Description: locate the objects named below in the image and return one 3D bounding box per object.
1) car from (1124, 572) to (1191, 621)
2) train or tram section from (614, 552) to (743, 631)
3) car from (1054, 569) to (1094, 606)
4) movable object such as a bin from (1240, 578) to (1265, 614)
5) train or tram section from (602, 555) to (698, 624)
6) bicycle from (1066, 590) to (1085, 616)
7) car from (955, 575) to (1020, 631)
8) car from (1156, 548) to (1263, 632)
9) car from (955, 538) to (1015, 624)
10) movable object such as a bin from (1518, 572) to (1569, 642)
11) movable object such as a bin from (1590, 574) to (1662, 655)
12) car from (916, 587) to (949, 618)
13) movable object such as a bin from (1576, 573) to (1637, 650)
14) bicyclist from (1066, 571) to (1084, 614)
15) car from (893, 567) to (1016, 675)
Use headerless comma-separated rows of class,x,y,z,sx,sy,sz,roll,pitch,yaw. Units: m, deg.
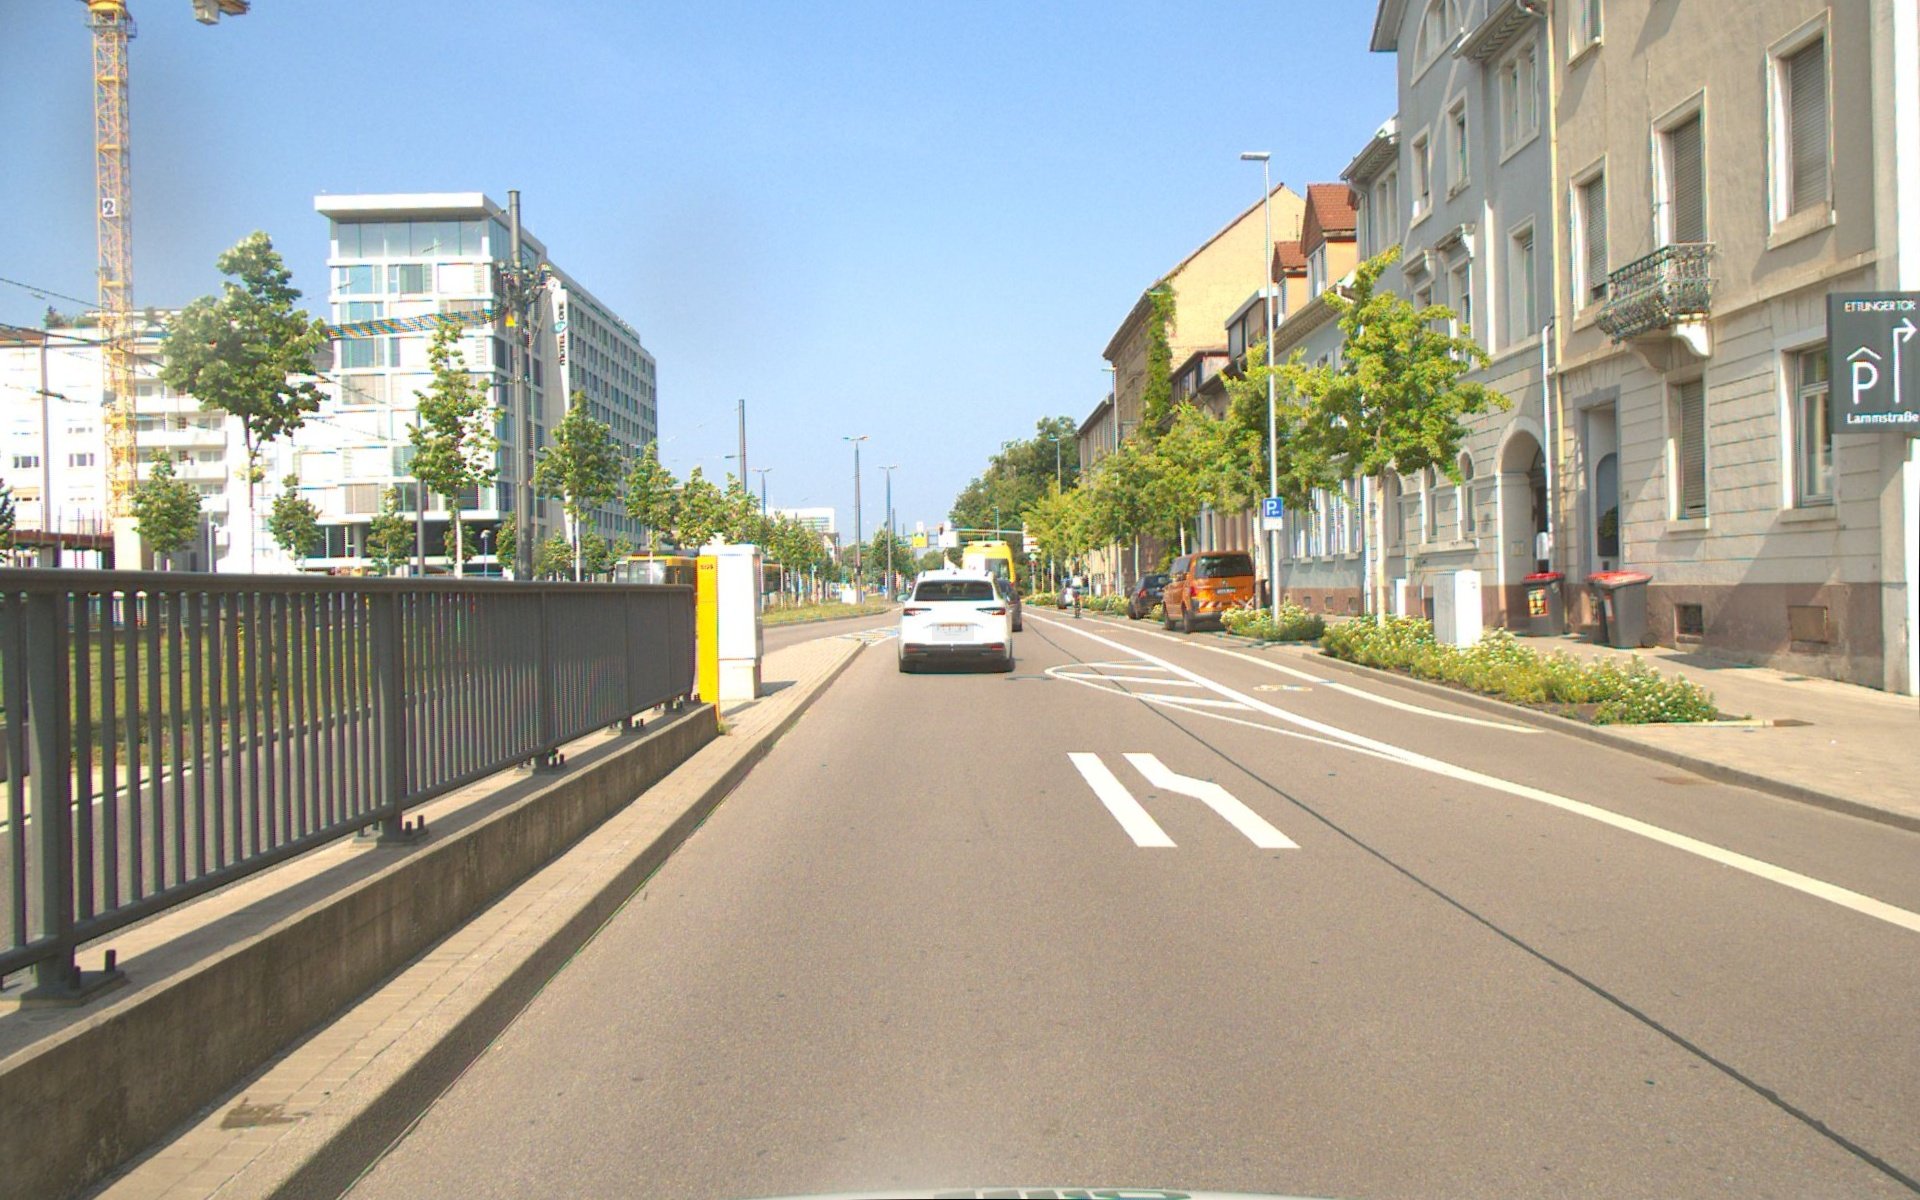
car,6.665,-0.126,56.147,1.639,1.509,4.311,-3,0,-1
train or tram section,-14.475,-0.420,87.027,2.845,3.740,18.143,0,0,3
car,5.950,-0.680,86.557,1.775,1.844,3.835,-1,1,-1
movable object such as a bin,9.891,-0.136,55.913,0.665,1.221,0.781,-1,1,-1
train or tram section,-17.582,-0.633,95.045,2.802,3.598,14.896,-1,1,-1
bicycle,4.339,0.108,62.200,0.642,0.955,1.517,-1,1,2
car,0.725,0.047,45.781,1.724,1.461,4.115,0,1,0
car,6.474,-0.301,43.355,2.021,2.048,4.588,-1,1,-1
car,0.833,-0.753,58.916,1.979,2.844,5.402,-1,2,0
movable object such as a bin,10.130,0.107,28.707,0.666,1.172,0.607,-3,3,-44
movable object such as a bin,10.170,0.210,25.286,0.765,1.192,0.808,-1,2,-1
car,-1.720,0.123,104.161,1.891,1.853,4.000,-1,1,1
movable object such as a bin,10.259,0.175,26.258,0.690,1.172,0.671,-1,2,-1
bicyclist,4.337,-0.286,62.326,0.626,1.604,0.771,-1,0,2
car,-0.085,0.297,27.159,1.831,1.602,4.000,-1,1,0
